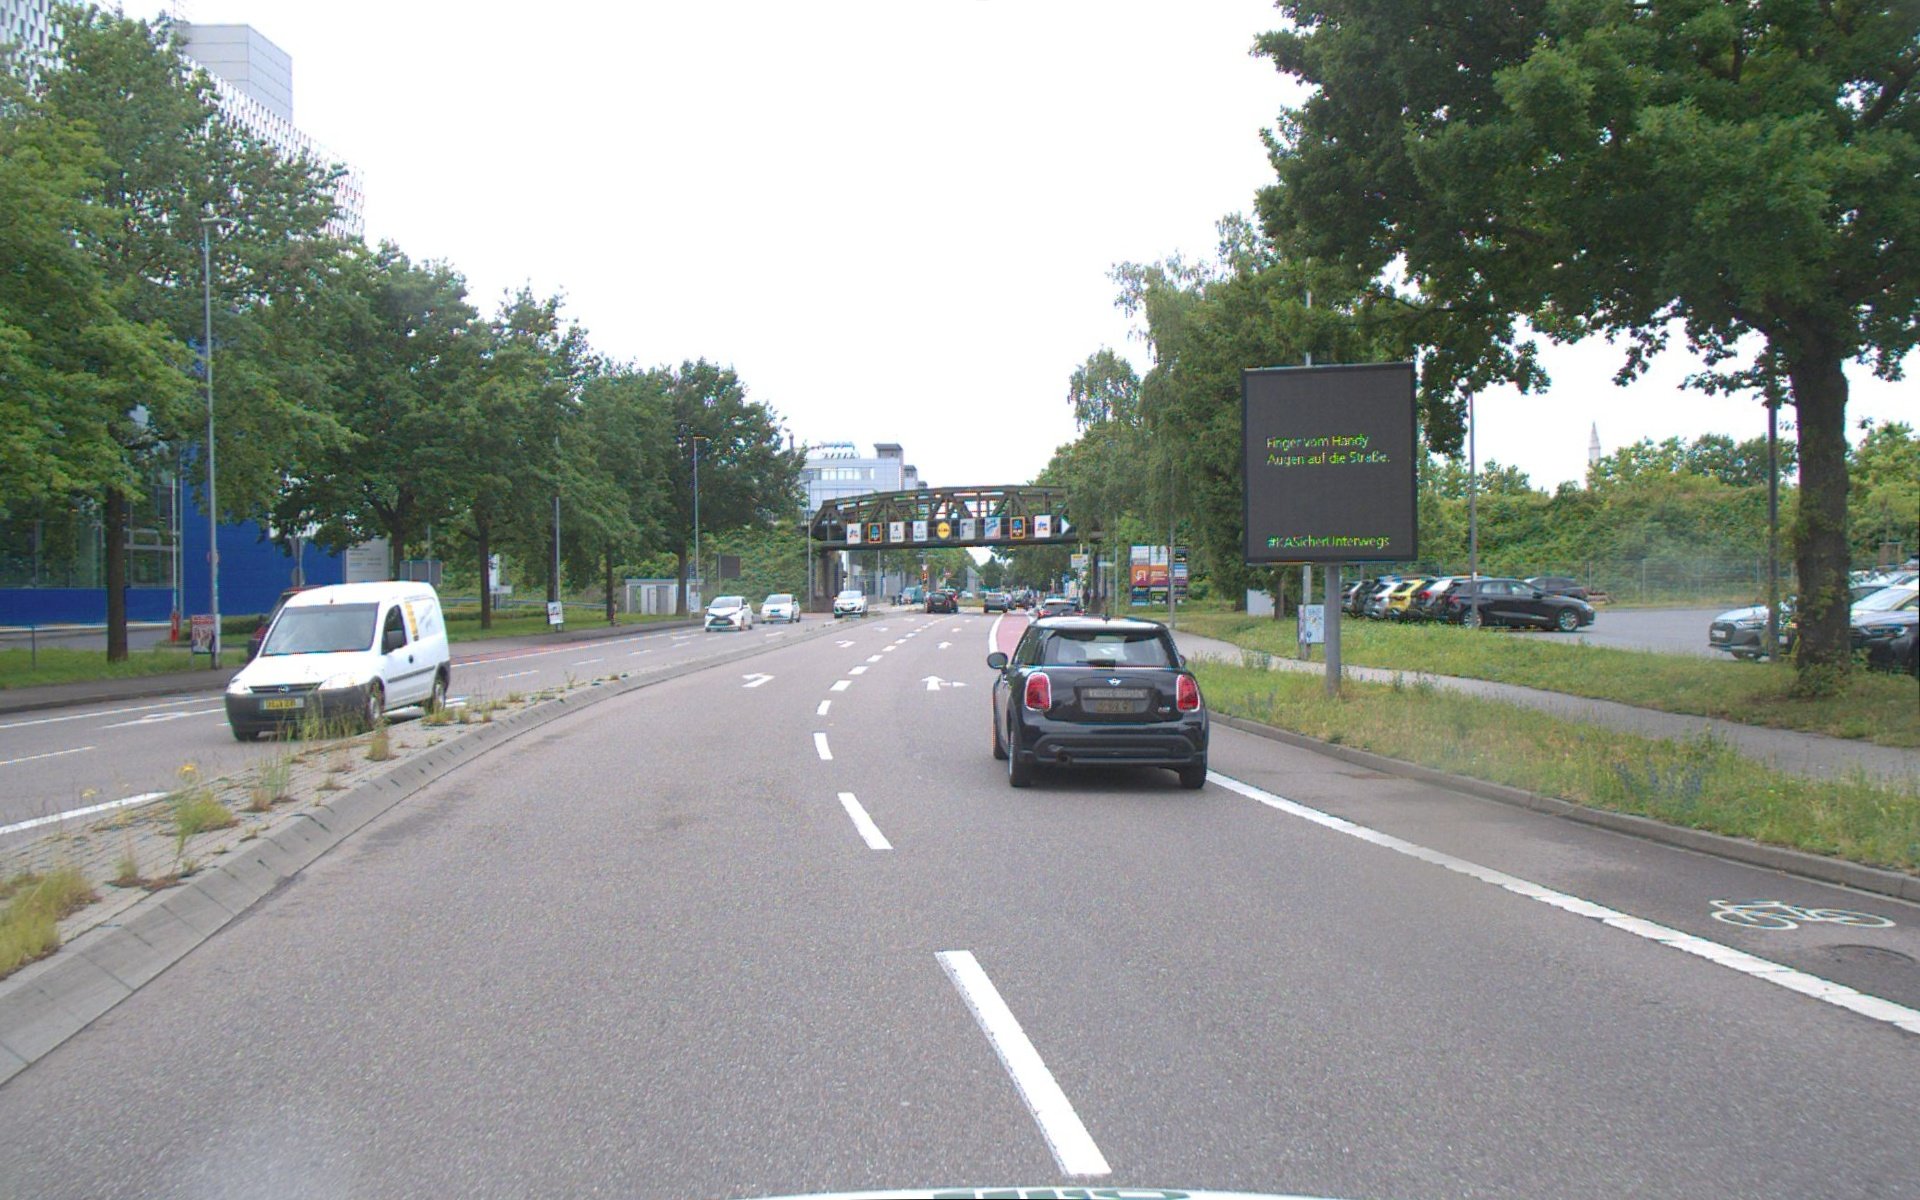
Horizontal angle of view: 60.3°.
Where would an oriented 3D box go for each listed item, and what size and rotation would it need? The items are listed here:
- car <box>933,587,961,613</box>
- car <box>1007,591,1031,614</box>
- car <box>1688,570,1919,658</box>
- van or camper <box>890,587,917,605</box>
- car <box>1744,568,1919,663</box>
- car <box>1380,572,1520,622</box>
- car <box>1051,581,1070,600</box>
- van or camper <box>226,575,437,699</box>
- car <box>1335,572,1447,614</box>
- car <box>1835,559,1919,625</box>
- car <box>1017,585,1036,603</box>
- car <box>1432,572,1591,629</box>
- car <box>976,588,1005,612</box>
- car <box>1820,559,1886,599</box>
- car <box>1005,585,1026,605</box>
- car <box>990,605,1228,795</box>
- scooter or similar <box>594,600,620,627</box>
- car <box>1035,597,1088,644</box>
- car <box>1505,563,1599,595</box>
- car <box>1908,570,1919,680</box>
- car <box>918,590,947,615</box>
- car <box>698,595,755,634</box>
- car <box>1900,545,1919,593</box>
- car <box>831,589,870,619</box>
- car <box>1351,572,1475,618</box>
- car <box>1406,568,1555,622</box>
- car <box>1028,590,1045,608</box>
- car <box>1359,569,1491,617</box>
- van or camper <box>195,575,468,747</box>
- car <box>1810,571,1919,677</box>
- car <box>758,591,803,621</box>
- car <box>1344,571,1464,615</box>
[{"bbox_3d":[-1.036,-0.015,130.012,1.909,1.847,4.003,0,2,4],"label":"car"},{"bbox_3d":[4.948,0.188,137.601,1.844,1.690,3.785,1,2,4],"label":"car"},{"bbox_3d":[15.269,0.227,29.272,4.001,1.460,1.731,0,2,0],"label":"car"},{"bbox_3d":[-8.043,-0.556,236.408,1.951,2.529,7.034,-1,1,13],"label":"van or camper"},{"bbox_3d":[15.224,0.234,26.954,4.001,1.460,1.847,0,2,0],"label":"car"},{"bbox_3d":[15.114,-0.112,51.179,3.902,1.460,1.732,1,2,8],"label":"car"},{"bbox_3d":[10.639,-1.032,175.209,1.909,1.847,4.003,0,2,4],"label":"car"},{"bbox_3d":[-11.346,0.583,30.265,1.836,2.021,4.891,-1,1,1],"label":"van or camper"},{"bbox_3d":[16.296,-0.284,62.659,3.902,1.460,1.732,1,2,8],"label":"car"},{"bbox_3d":[25.299,-0.215,43.134,4.001,1.648,1.731,0,2,0],"label":"car"},{"bbox_3d":[6.999,-0.658,174.339,1.844,1.690,3.785,1,2,4],"label":"car"},{"bbox_3d":[15.184,-0.005,45.675,3.902,1.460,1.732,1,2,8],"label":"car"},{"bbox_3d":[2.398,-0.007,130.253,2.090,1.690,3.785,1,2,4],"label":"car"},{"bbox_3d":[34.686,-0.836,64.228,1.958,1.422,3.990,2,3,32],"label":"car"},{"bbox_3d":[5.489,-0.499,161.967,1.909,1.847,4.003,0,2,4],"label":"car"},{"bbox_3d":[1.235,0.811,15.126,1.749,1.440,3.643,3,0,-1],"label":"car"},{"bbox_3d":[-16.307,0.619,76.424,0.746,1.108,2.007,0,2,1],"label":"scooter or similar"},{"bbox_3d":[3.511,0.677,56.853,1.720,1.459,4.003,-1,1,5],"label":"car"},{"bbox_3d":[28.003,-0.999,78.336,3.902,1.460,1.732,1,2,8],"label":"car"},{"bbox_3d":[15.224,0.373,21.925,4.253,1.514,1.843,1,1,1],"label":"car"},{"bbox_3d":[-2.028,0.200,123.303,1.844,1.690,3.785,1,2,4],"label":"car"},{"bbox_3d":[-9.942,0.602,70.602,1.717,1.471,3.342,1,2,4],"label":"car"},{"bbox_3d":[31.448,-0.944,50.949,4.001,1.460,1.731,0,2,0],"label":"car"},{"bbox_3d":[-6.719,0.239,102.227,1.899,1.705,3.785,1,2,4],"label":"car"},{"bbox_3d":[15.480,-0.196,56.701,3.902,1.460,1.732,1,2,8],"label":"car"},{"bbox_3d":[15.109,-0.171,48.171,3.902,1.460,1.732,1,2,8],"label":"car"},{"bbox_3d":[8.689,-0.088,187.517,1.909,1.847,4.003,0,2,4],"label":"car"},{"bbox_3d":[15.008,-0.245,53.538,3.902,1.460,1.732,1,2,8],"label":"car"},{"bbox_3d":[-7.572,0.643,20.416,1.720,1.777,4.405,-4,1,-2],"label":"van or camper"},{"bbox_3d":[15.066,0.340,24.495,4.001,1.460,1.822,0,2,0],"label":"car"},{"bbox_3d":[-9.222,0.278,85.099,1.683,1.395,3.442,1,2,4],"label":"car"},{"bbox_3d":[15.683,-0.258,58.564,3.902,1.460,1.732,1,2,8],"label":"car"}]
